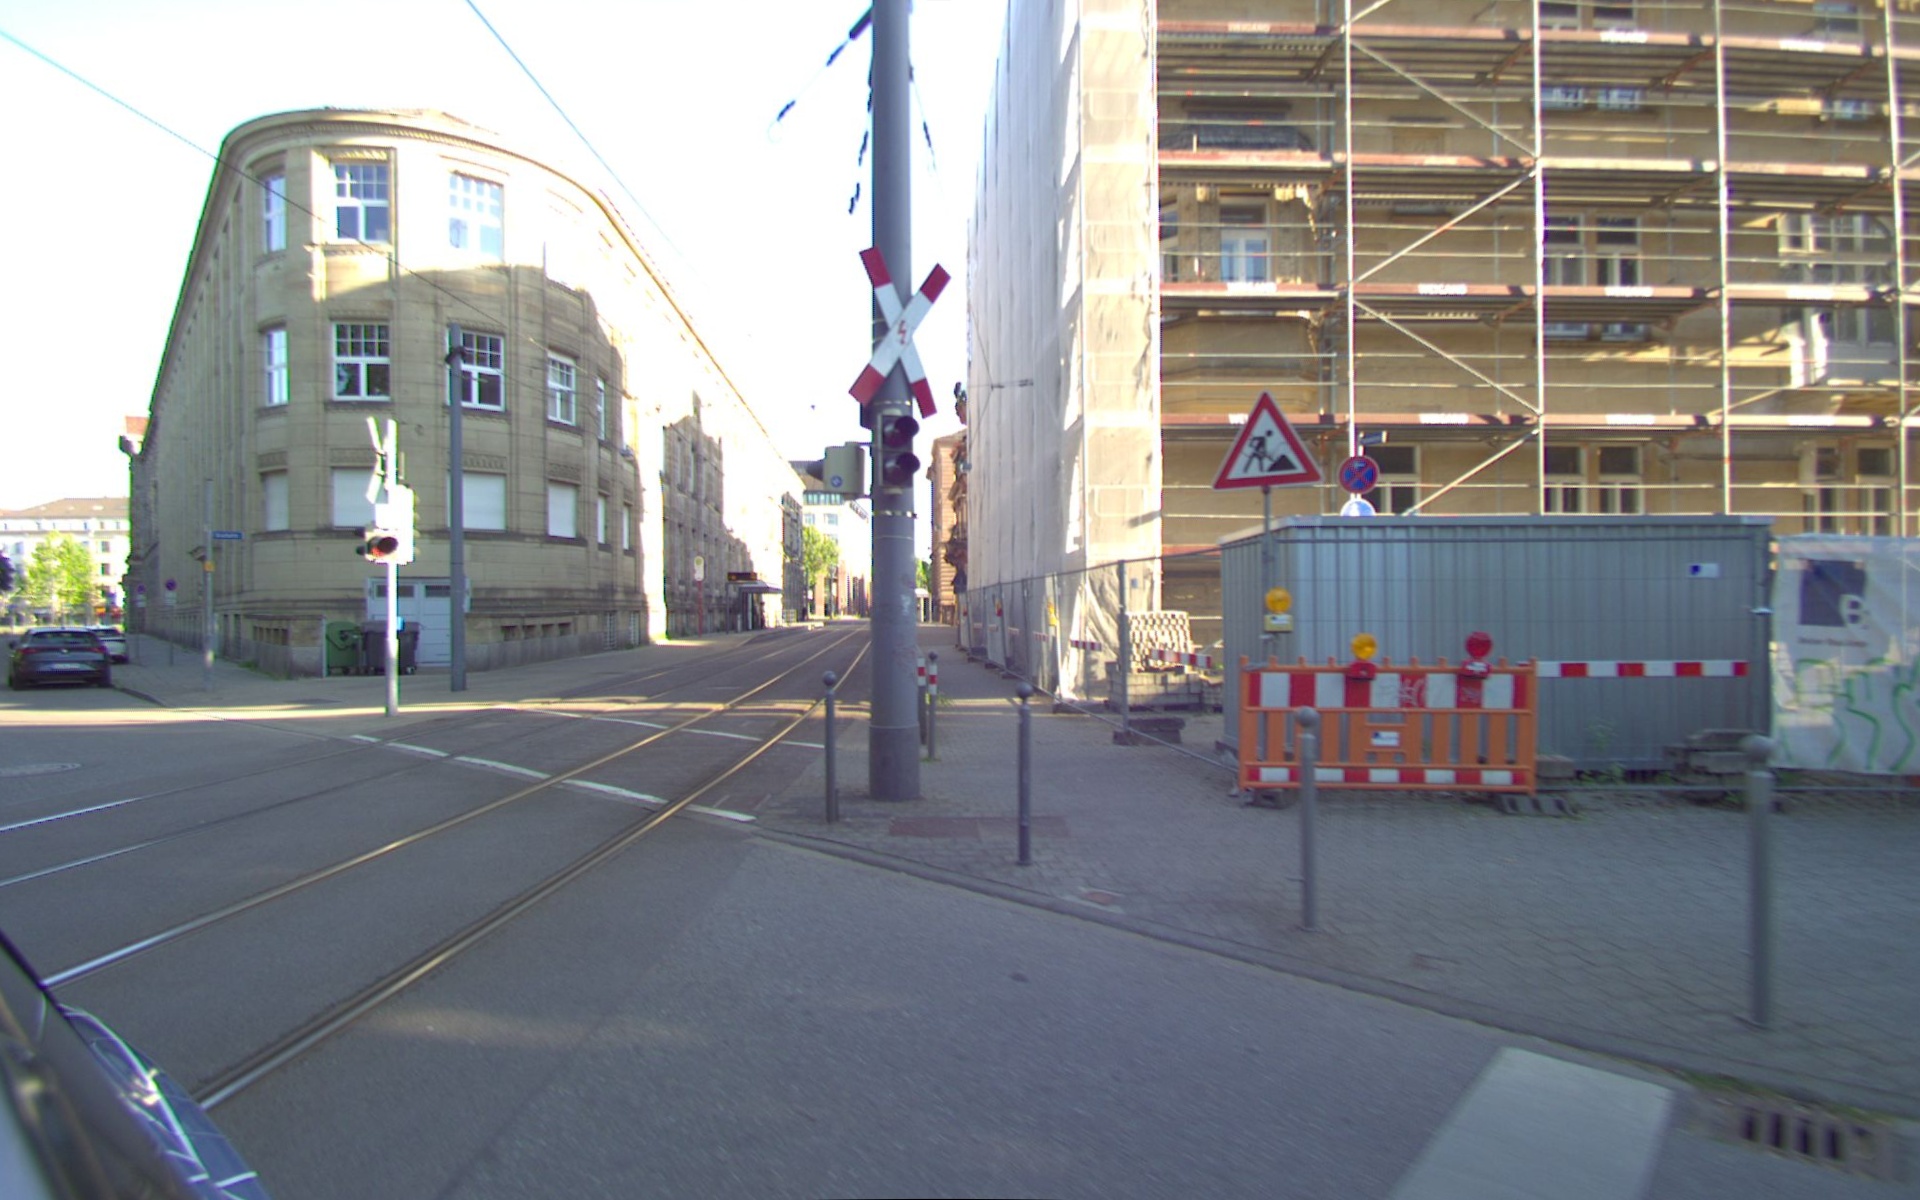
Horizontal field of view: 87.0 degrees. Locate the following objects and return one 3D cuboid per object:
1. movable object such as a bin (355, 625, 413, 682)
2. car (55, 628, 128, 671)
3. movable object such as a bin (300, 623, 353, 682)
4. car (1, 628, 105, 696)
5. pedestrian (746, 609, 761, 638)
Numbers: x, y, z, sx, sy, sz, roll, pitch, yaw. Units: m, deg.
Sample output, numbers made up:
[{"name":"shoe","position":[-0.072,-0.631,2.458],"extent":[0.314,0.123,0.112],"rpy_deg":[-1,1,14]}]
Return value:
[{"name":"movable object such as a bin","position":[-15.236,1.379,26.732],"extent":[1.167,1.439,1.926],"rpy_deg":[0,-1,-35]},{"name":"car","position":[-32.570,1.808,37.901],"extent":[1.724,1.445,4.563],"rpy_deg":[-1,0,-45]},{"name":"movable object such as a bin","position":[-16.847,1.361,26.895],"extent":[1.130,1.497,1.632],"rpy_deg":[0,-1,-35]},{"name":"car","position":[-21.846,1.414,24.317],"extent":[1.723,1.459,4.212],"rpy_deg":[1,-1,-44]},{"name":"pedestrian","position":[-12.977,1.467,63.524],"extent":[0.743,1.850,0.820],"rpy_deg":[-1,-1,5]}]
